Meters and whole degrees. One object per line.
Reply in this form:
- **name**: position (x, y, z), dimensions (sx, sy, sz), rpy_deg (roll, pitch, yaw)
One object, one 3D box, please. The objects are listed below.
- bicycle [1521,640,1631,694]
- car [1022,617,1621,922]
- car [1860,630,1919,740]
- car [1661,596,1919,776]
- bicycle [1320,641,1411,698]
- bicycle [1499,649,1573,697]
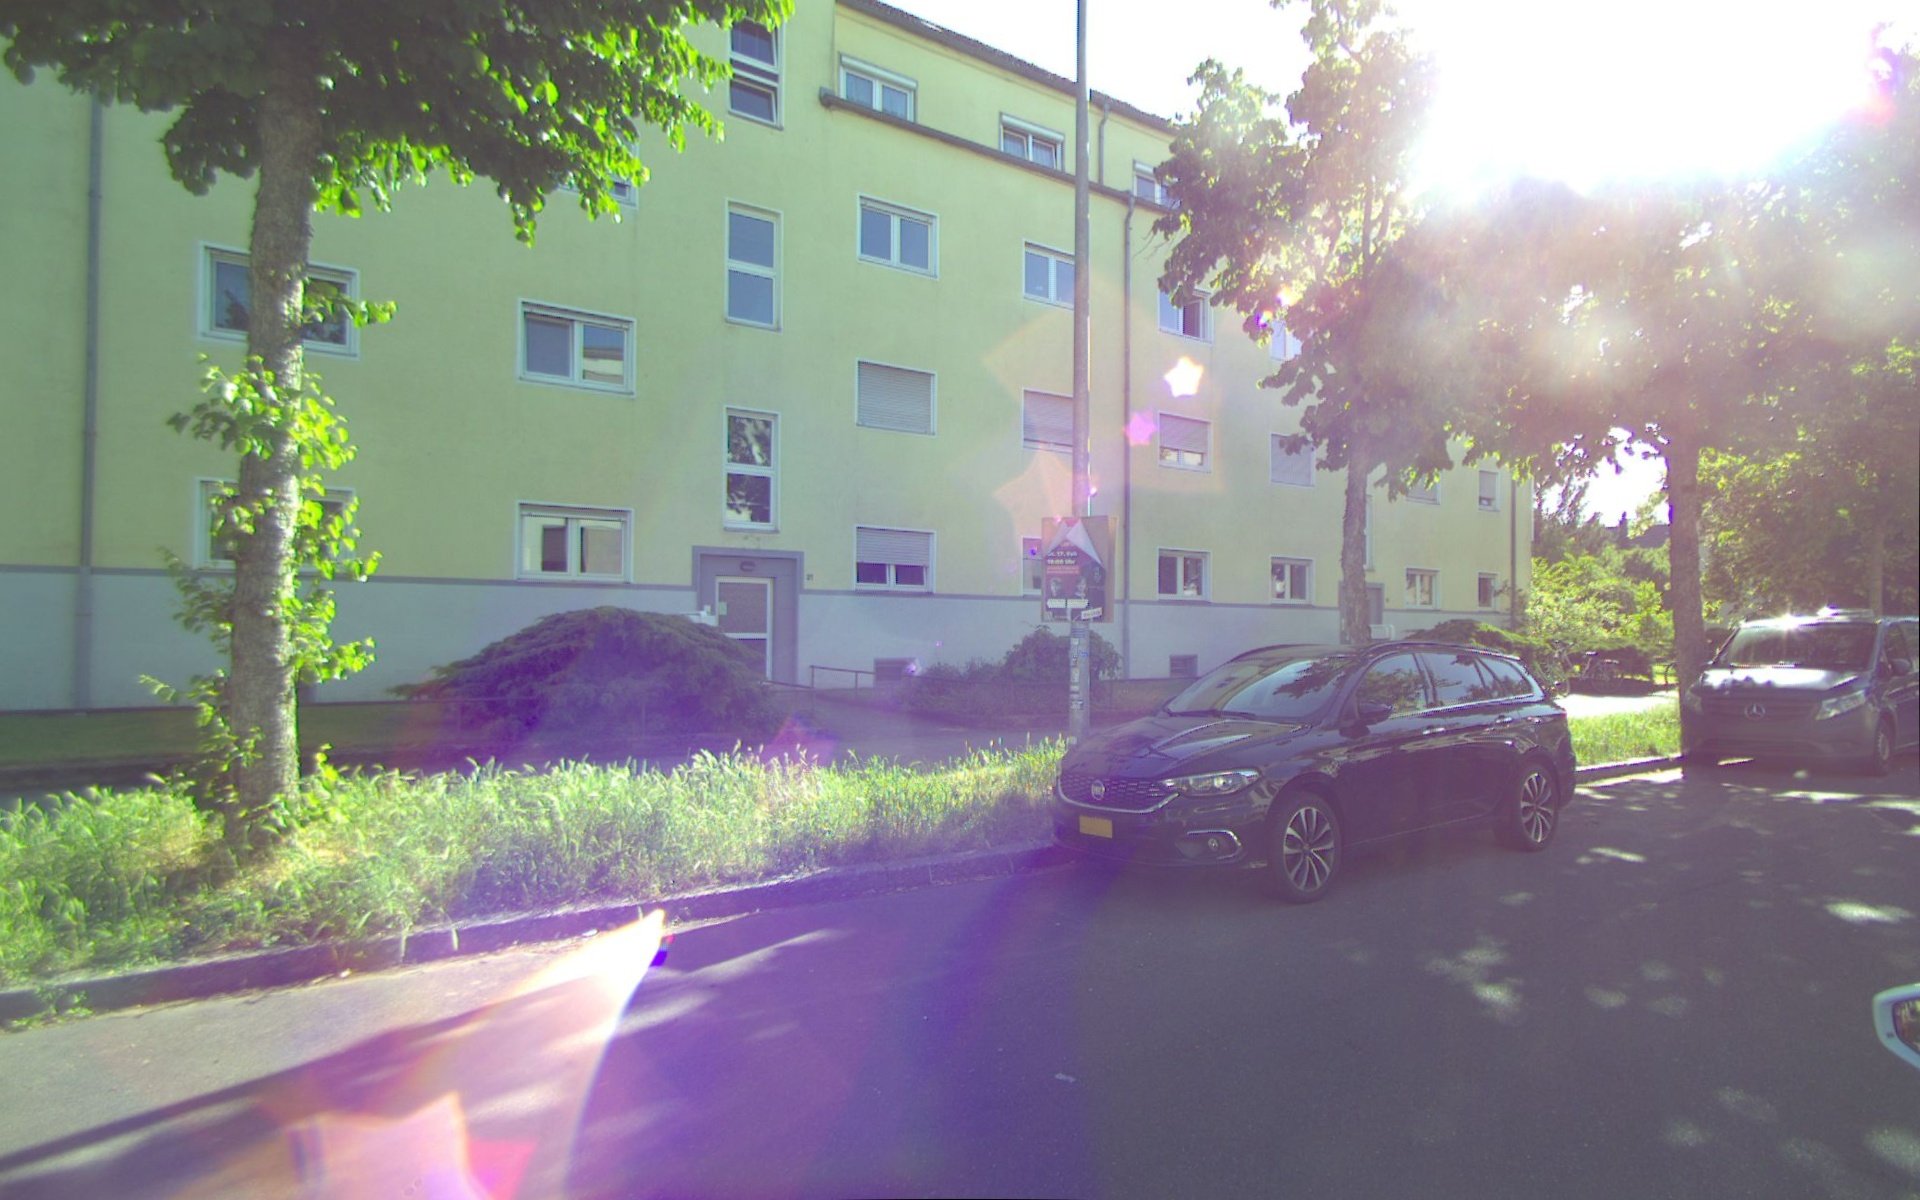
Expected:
- **bicycle**: position (14.665, 1.567, 23.970), dimensions (0.685, 1.224, 2.125), rpy_deg (2, -3, -43)
- **car**: position (2.775, 0.982, 7.164), dimensions (4.729, 1.568, 1.499), rpy_deg (2, -4, -34)
- **car**: position (16.041, 1.307, 16.046), dimensions (4.189, 1.632, 1.601), rpy_deg (2, -3, -36)
- **car**: position (11.236, 1.020, 12.924), dimensions (5.086, 1.929, 1.816), rpy_deg (2, -3, -33)
- **bicycle**: position (7.528, 1.263, 18.605), dimensions (1.907, 1.004, 0.591), rpy_deg (1, -2, -34)
- **bicycle**: position (12.496, 1.563, 21.773), dimensions (1.907, 1.004, 0.591), rpy_deg (1, -2, -34)
